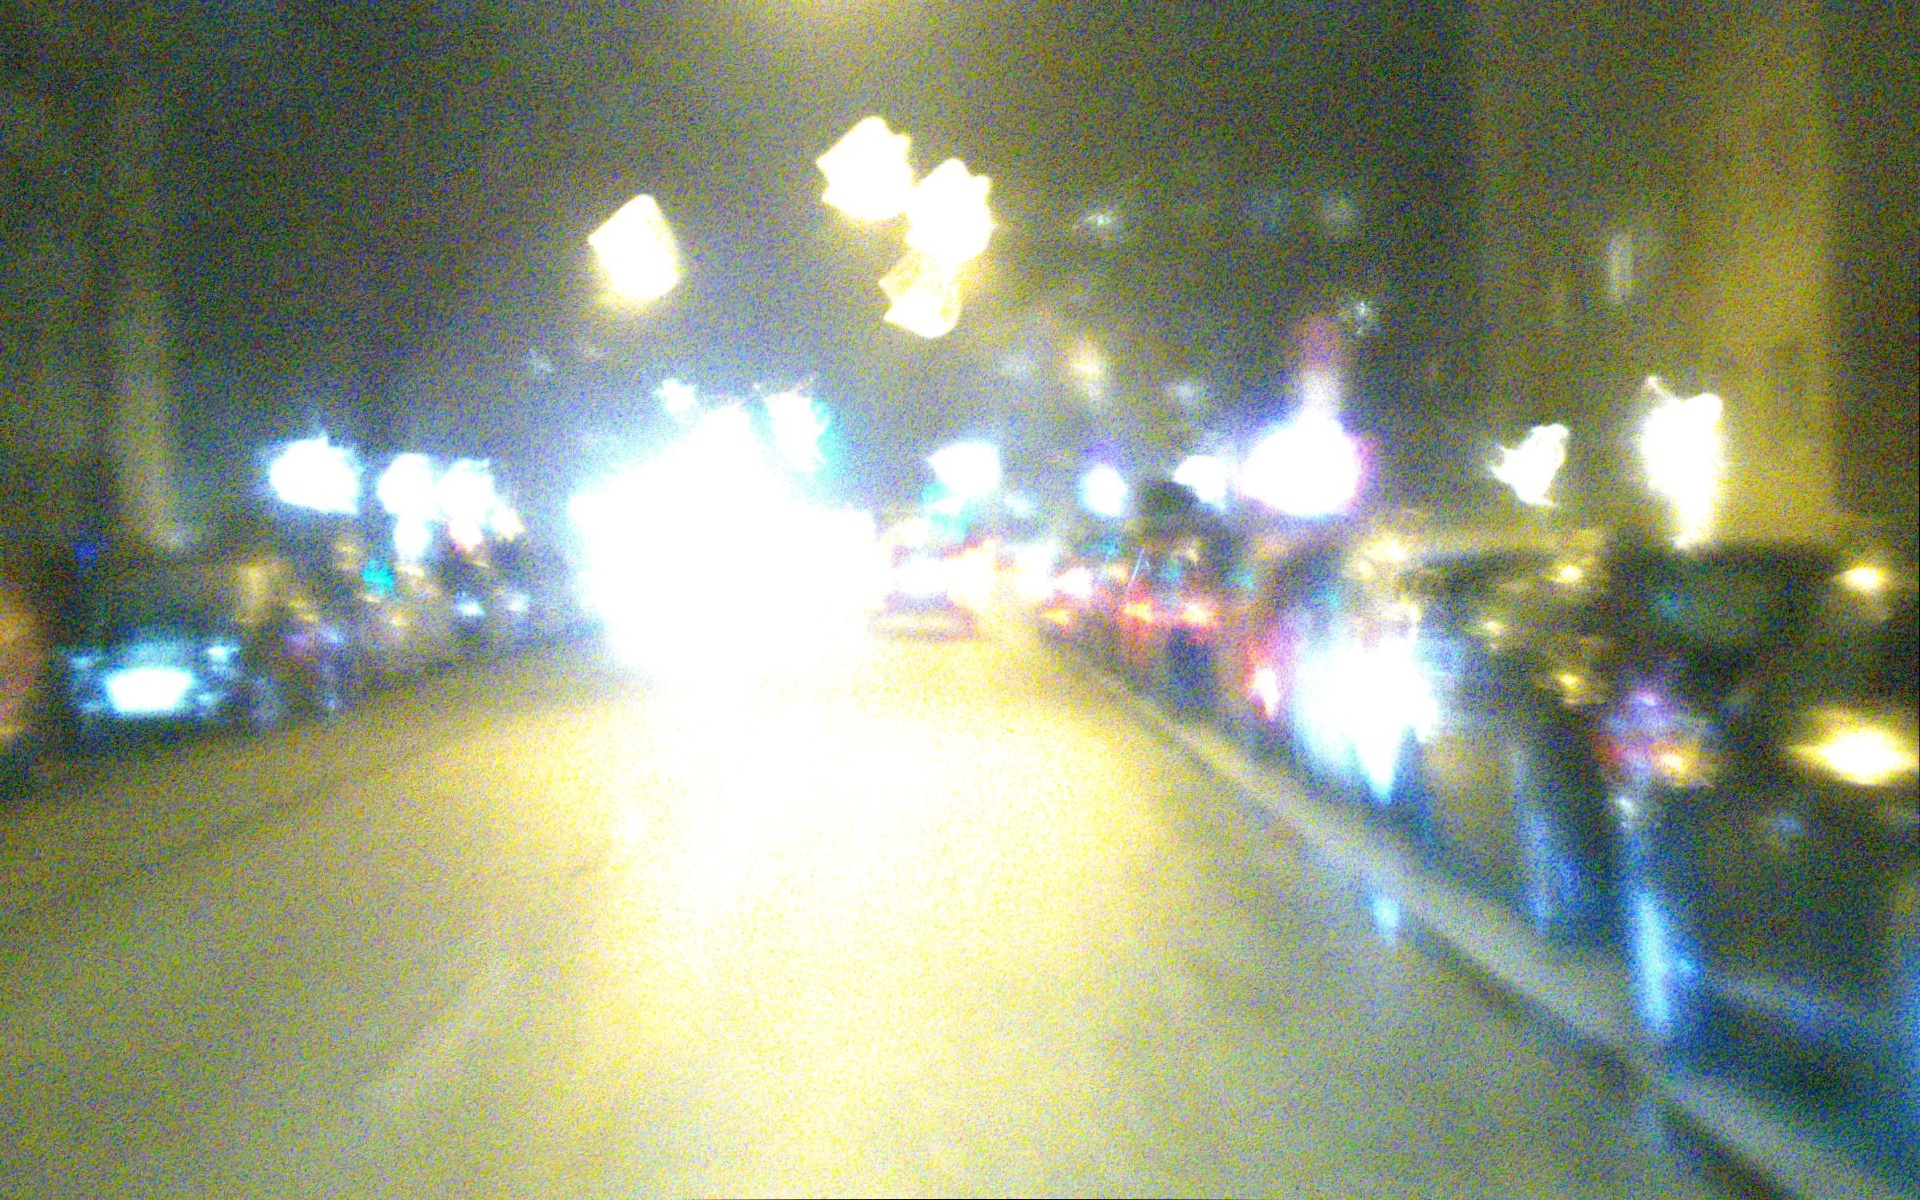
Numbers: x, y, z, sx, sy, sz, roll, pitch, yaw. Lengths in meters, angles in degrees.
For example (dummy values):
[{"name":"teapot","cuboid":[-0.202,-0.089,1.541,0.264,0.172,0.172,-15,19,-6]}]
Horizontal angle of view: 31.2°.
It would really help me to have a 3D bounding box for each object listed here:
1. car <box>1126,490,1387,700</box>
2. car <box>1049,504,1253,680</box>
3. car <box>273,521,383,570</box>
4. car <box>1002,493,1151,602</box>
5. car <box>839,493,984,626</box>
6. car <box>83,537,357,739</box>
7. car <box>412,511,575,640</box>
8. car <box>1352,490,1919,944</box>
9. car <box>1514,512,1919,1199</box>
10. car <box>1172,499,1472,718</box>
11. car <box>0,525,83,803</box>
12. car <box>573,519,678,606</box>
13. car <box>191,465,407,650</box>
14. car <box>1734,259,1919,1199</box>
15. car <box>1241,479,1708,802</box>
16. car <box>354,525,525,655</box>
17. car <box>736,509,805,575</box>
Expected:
[{"name":"car","cuboid":[2.432,-0.107,29.292,1.754,1.542,4.978,-3,2,1]},{"name":"car","cuboid":[1.835,-0.136,34.189,1.824,1.542,4.352,-3,2,2]},{"name":"car","cuboid":[-20.060,-1.746,109.313,1.715,1.427,3.916,-1,2,18]},{"name":"car","cuboid":[1.644,-0.789,49.869,1.822,1.417,4.489,-3,2,-1]},{"name":"car","cuboid":[-0.793,-0.685,55.540,2.168,1.965,4.302,-3,1,-1]},{"name":"car","cuboid":[-6.178,0.271,29.000,1.431,1.455,3.374,-5,2,1]},{"name":"car","cuboid":[-6.499,-0.379,48.268,1.598,1.599,4.259,-5,2,0]},{"name":"car","cuboid":[2.828,0.333,13.729,1.795,1.442,4.280,-3,2,-2]},{"name":"car","cuboid":[2.741,0.544,8.443,1.795,1.486,4.130,-3,2,-3]},{"name":"car","cuboid":[2.399,0.009,23.506,1.456,1.301,3.629,-3,2,-2]},{"name":"car","cuboid":[-6.492,0.425,20.325,1.746,1.592,4.392,-5,2,-5]},{"name":"car","cuboid":[-6.749,-0.782,69.728,1.598,1.558,4.380,-5,2,0]},{"name":"car","cuboid":[-6.461,-0.436,33.887,1.474,1.614,3.374,-5,2,-2]},{"name":"car","cuboid":[2.552,0.447,3.341,1.795,1.943,5.855,-3,2,-4]},{"name":"car","cuboid":[2.681,0.141,18.865,1.674,1.482,4.280,-3,2,-2]},{"name":"car","cuboid":[-6.558,-0.167,43.645,1.598,1.426,4.005,-5,2,-2]},{"name":"car","cuboid":[-6.362,-1.949,114.872,2.034,1.946,5.201,-4,2,-4]}]
